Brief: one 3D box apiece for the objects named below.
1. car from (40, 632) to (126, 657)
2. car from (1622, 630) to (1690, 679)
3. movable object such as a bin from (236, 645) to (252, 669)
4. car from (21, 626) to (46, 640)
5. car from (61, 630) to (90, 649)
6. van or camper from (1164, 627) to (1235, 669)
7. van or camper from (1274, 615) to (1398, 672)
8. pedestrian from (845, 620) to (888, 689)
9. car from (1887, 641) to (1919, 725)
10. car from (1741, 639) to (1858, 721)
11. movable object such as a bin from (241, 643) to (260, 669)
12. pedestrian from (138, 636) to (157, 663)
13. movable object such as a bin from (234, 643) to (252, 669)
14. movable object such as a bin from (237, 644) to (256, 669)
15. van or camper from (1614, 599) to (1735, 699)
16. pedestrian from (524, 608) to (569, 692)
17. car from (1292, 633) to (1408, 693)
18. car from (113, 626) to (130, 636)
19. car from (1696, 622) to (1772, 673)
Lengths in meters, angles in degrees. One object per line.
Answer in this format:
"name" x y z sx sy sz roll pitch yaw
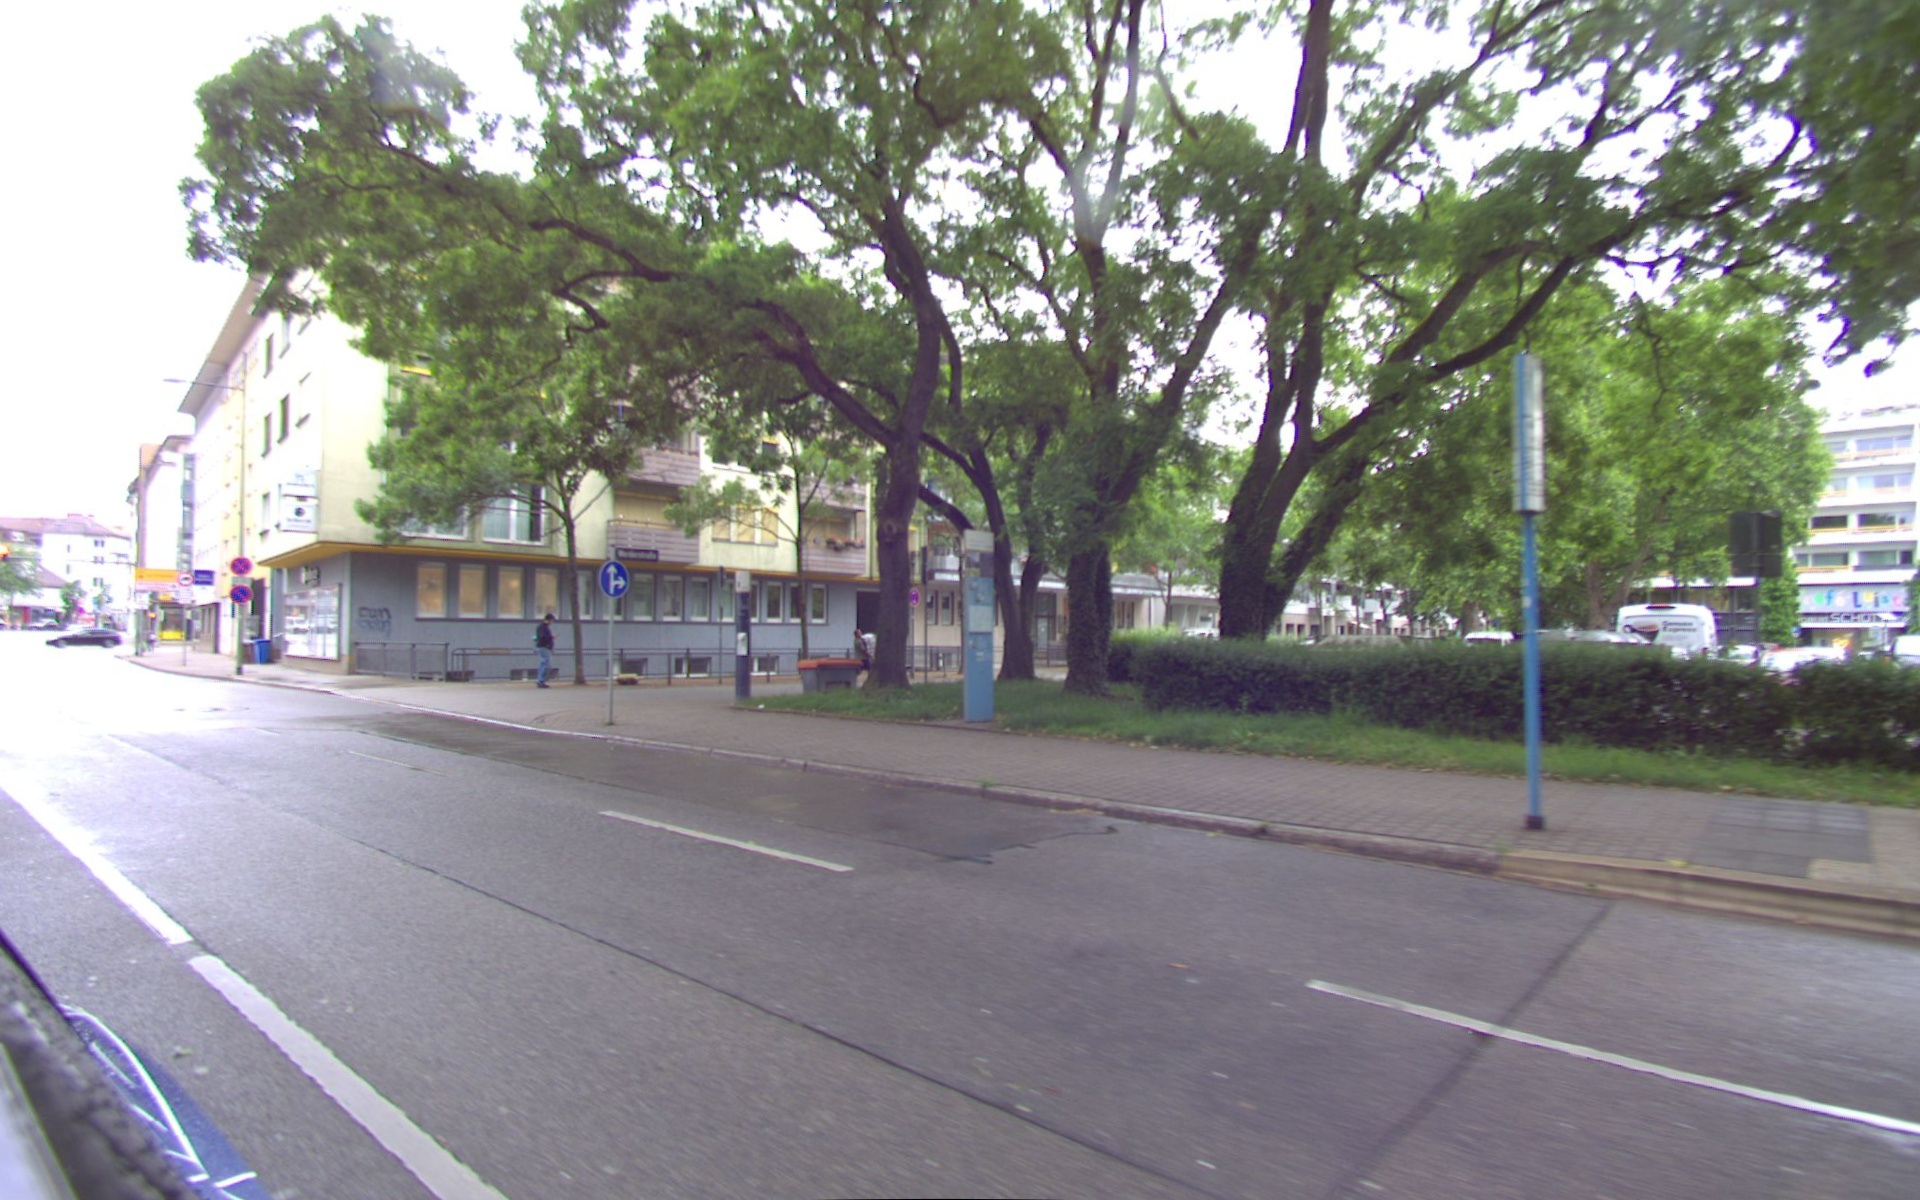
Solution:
"car" -62.571 3.135 72.270 1.758 1.580 4.499 -2 -1 44
"car" 27.668 2.137 40.173 1.802 1.838 3.946 -2 -3 40
"movable object such as a bin" -28.956 2.290 40.943 0.458 0.935 0.429 -3 1 -42
"car" -125.609 4.501 137.240 1.722 1.778 4.064 3 -4 -32
"car" -79.808 3.552 91.335 1.807 1.634 4.007 2 -3 -39
"van or camper" 12.737 2.549 53.609 1.825 2.029 4.576 1 -2 38
"van or camper" 17.612 2.011 47.069 2.561 2.420 8.535 -2 -3 41
"pedestrian" -2.654 1.540 28.814 0.906 1.939 0.820 2 -3 -43
"car" 20.885 1.703 21.203 1.895 1.497 3.947 -1 0 39
"car" 19.010 1.737 22.991 1.895 1.497 3.947 -1 0 39
"movable object such as a bin" -27.883 2.210 39.776 0.522 0.968 0.435 -3 1 -42
"pedestrian" -50.696 3.080 63.158 0.773 1.600 0.675 -1 -1 -28
"movable object such as a bin" -29.386 2.297 41.458 0.510 1.008 0.524 -3 1 -42
"movable object such as a bin" -28.629 2.268 40.594 0.521 0.935 0.426 -3 1 -42
"van or camper" 19.226 1.285 27.163 2.099 2.450 4.280 -2 -3 42
"pedestrian" -10.168 1.224 24.916 0.771 2.029 0.752 0 -2 1
"car" 11.521 1.799 29.778 1.863 1.638 3.995 -2 -3 42
"car" -124.341 4.594 150.065 1.567 1.539 3.496 2 -3 -36
"car" 26.358 1.558 34.415 1.895 1.497 3.947 -1 0 39
